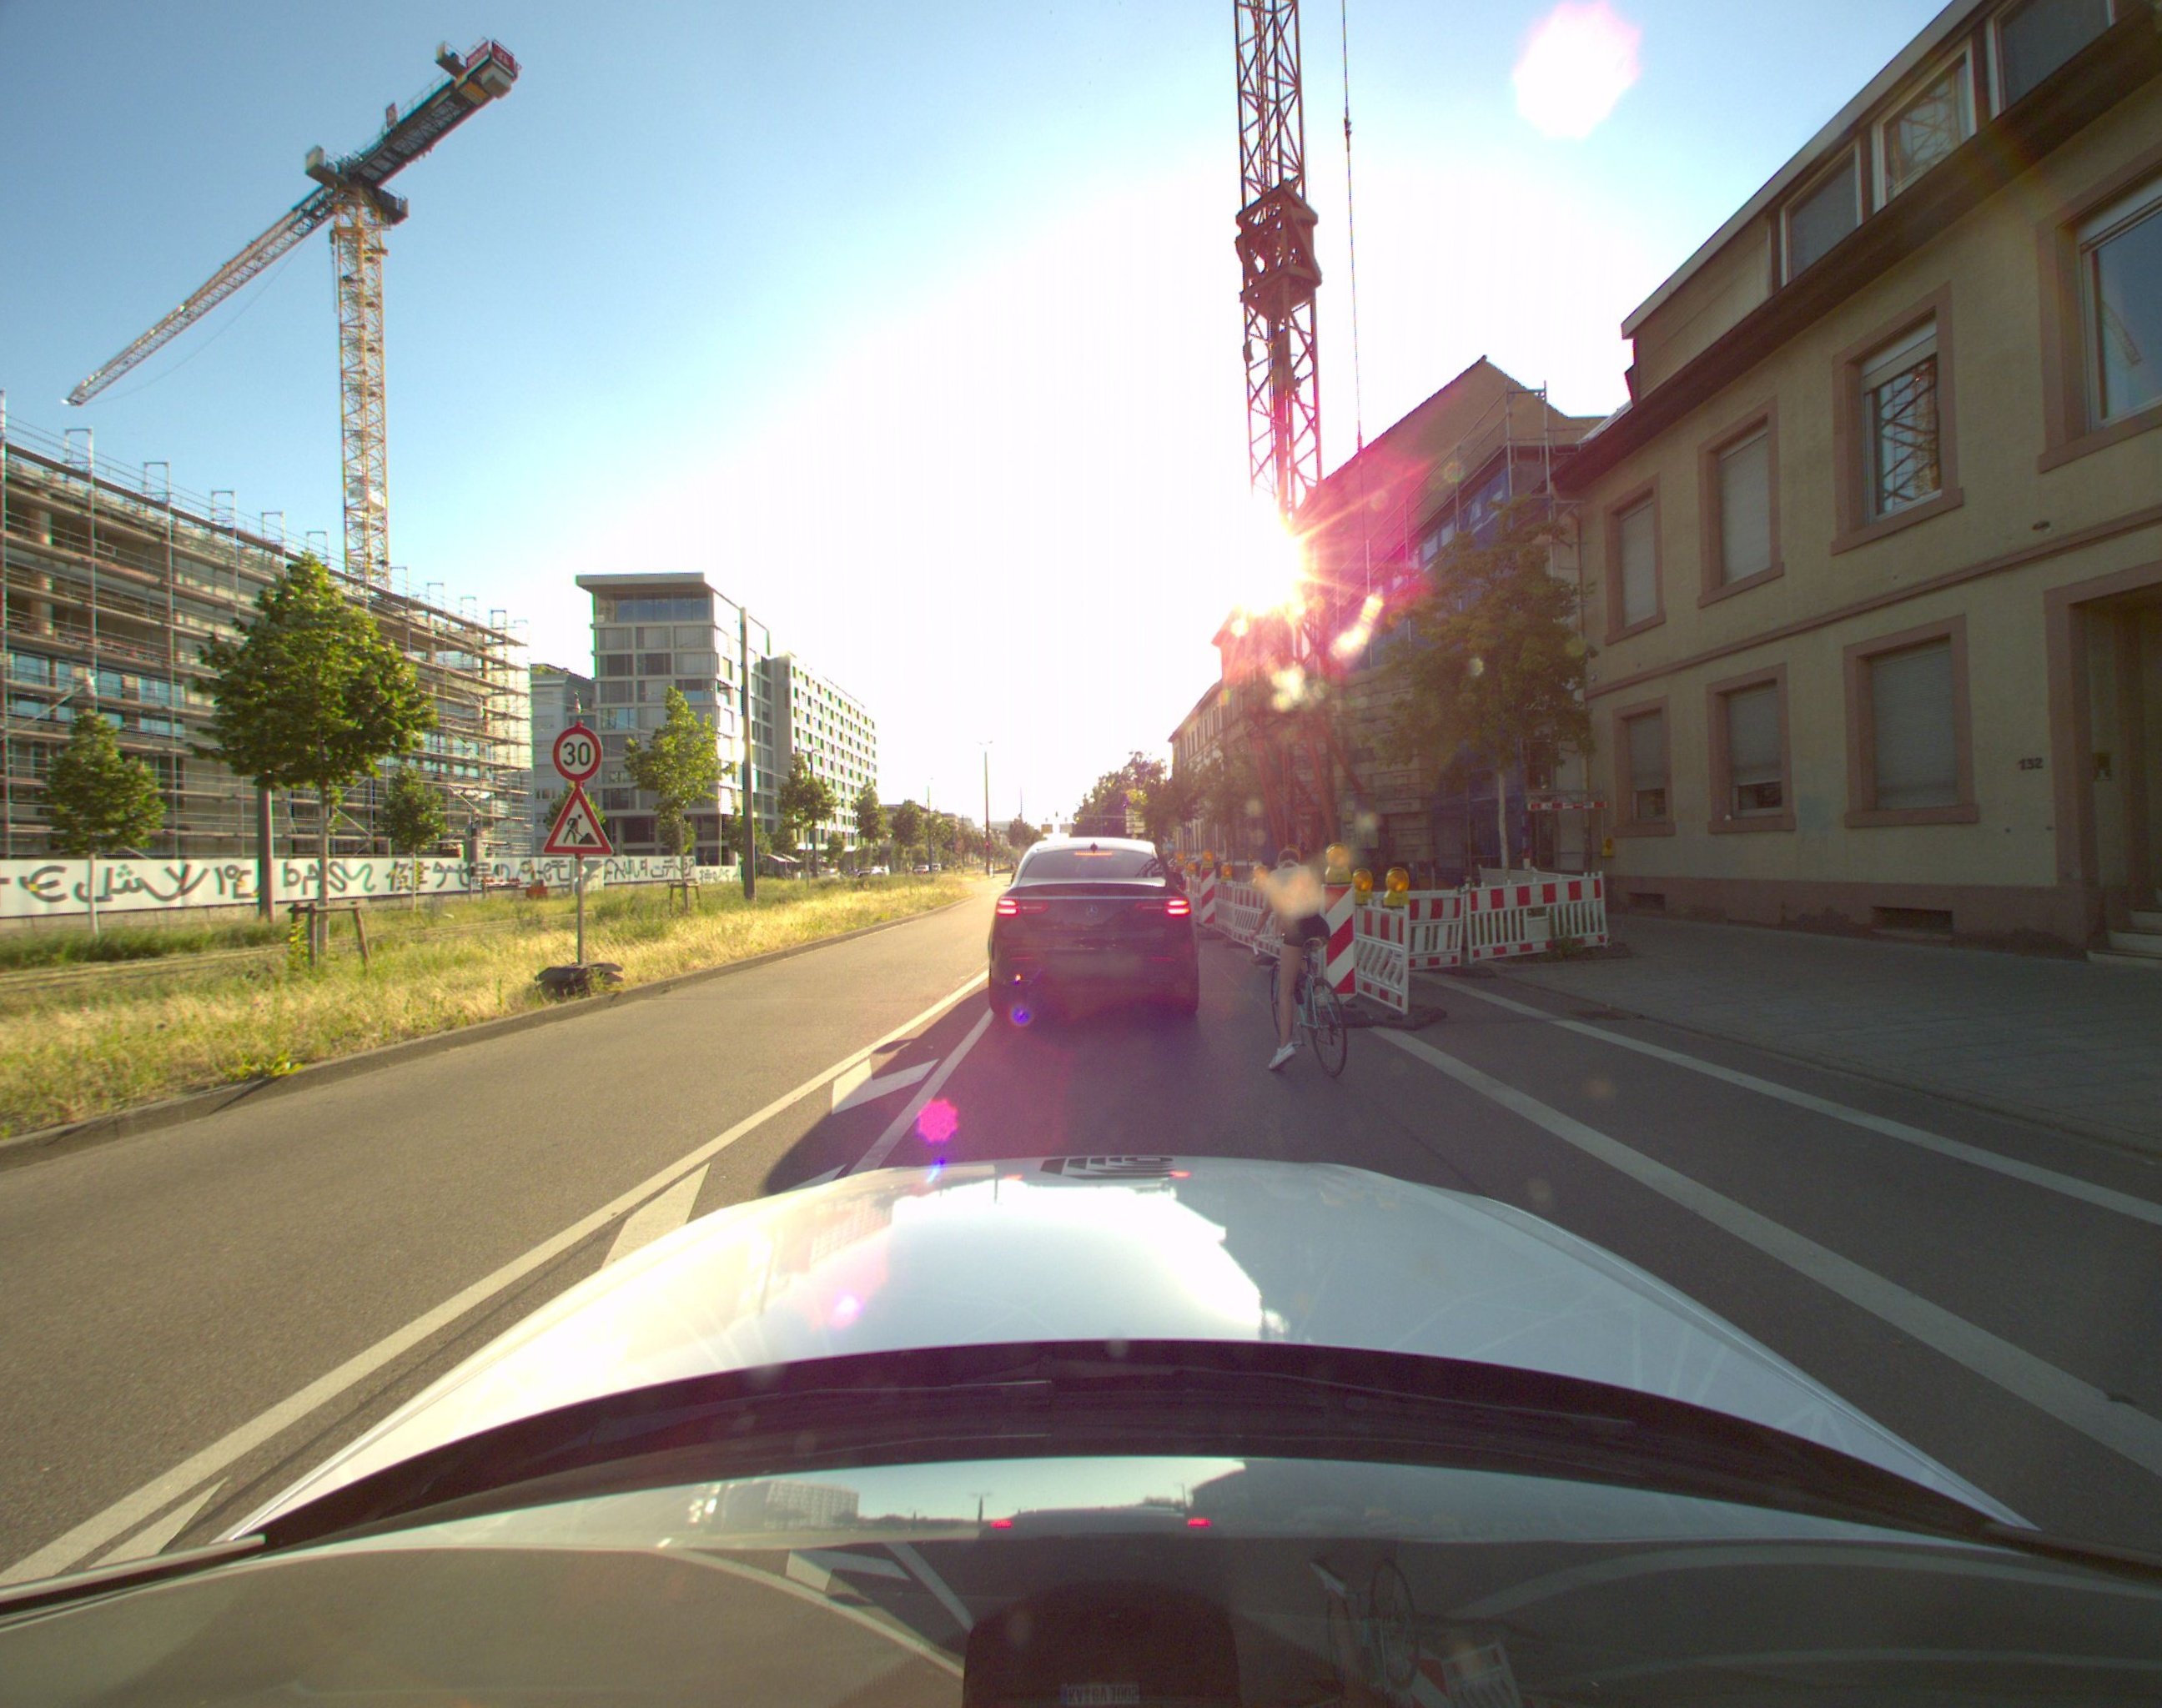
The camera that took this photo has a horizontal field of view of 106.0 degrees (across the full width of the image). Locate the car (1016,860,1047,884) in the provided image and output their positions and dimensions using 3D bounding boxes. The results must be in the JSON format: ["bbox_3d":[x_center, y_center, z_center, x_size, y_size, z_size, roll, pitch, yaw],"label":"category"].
[{"bbox_3d":[-3.133,1.120,52.096,1.703,1.442,3.581,0,-1,0],"label":"car"}]

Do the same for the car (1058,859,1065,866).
[{"bbox_3d":[-4.393,1.895,184.152,1.703,1.442,3.581,0,-1,0],"label":"car"}]

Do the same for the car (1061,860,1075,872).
[{"bbox_3d":[-1.665,1.508,102.345,1.703,1.442,3.581,0,-1,0],"label":"car"}]

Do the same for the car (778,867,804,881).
[{"bbox_3d":[-32.589,2.230,91.641,1.703,1.442,3.581,0,-1,0],"label":"car"}]

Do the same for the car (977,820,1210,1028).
[{"bbox_3d":[0.170,0.621,8.995,1.986,1.772,4.001,0,-1,2],"label":"car"}]

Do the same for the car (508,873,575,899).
[{"bbox_3d":[-32.556,1.892,49.272,1.703,1.442,3.581,0,-1,0],"label":"car"}]

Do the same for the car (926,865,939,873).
[{"bbox_3d":[-25.820,2.574,141.502,1.703,1.442,3.581,0,-1,0],"label":"car"}]

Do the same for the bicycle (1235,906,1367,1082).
[{"bbox_3d":[1.611,0.974,6.211,0.511,1.052,1.724,0,-1,-1],"label":"bicycle"}]

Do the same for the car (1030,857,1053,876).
[{"bbox_3d":[-3.178,0.996,66.047,1.703,1.442,3.581,0,-1,0],"label":"car"}]

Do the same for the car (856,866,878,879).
[{"bbox_3d":[-25.960,2.234,98.714,1.703,1.442,3.581,0,-1,0],"label":"car"}]

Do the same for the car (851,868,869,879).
[{"bbox_3d":[-32.182,2.824,118.513,1.703,1.442,3.581,0,-1,0],"label":"car"}]

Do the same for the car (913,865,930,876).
[{"bbox_3d":[-22.530,2.340,115.344,1.703,1.442,3.581,0,-1,0],"label":"car"}]

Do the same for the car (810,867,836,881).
[{"bbox_3d":[-28.806,2.195,90.976,1.703,1.442,3.581,0,-1,0],"label":"car"}]

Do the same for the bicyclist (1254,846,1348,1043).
[{"bbox_3d":[1.627,0.642,6.096,0.521,1.395,0.614,0,-1,-1],"label":"bicyclist"}]
